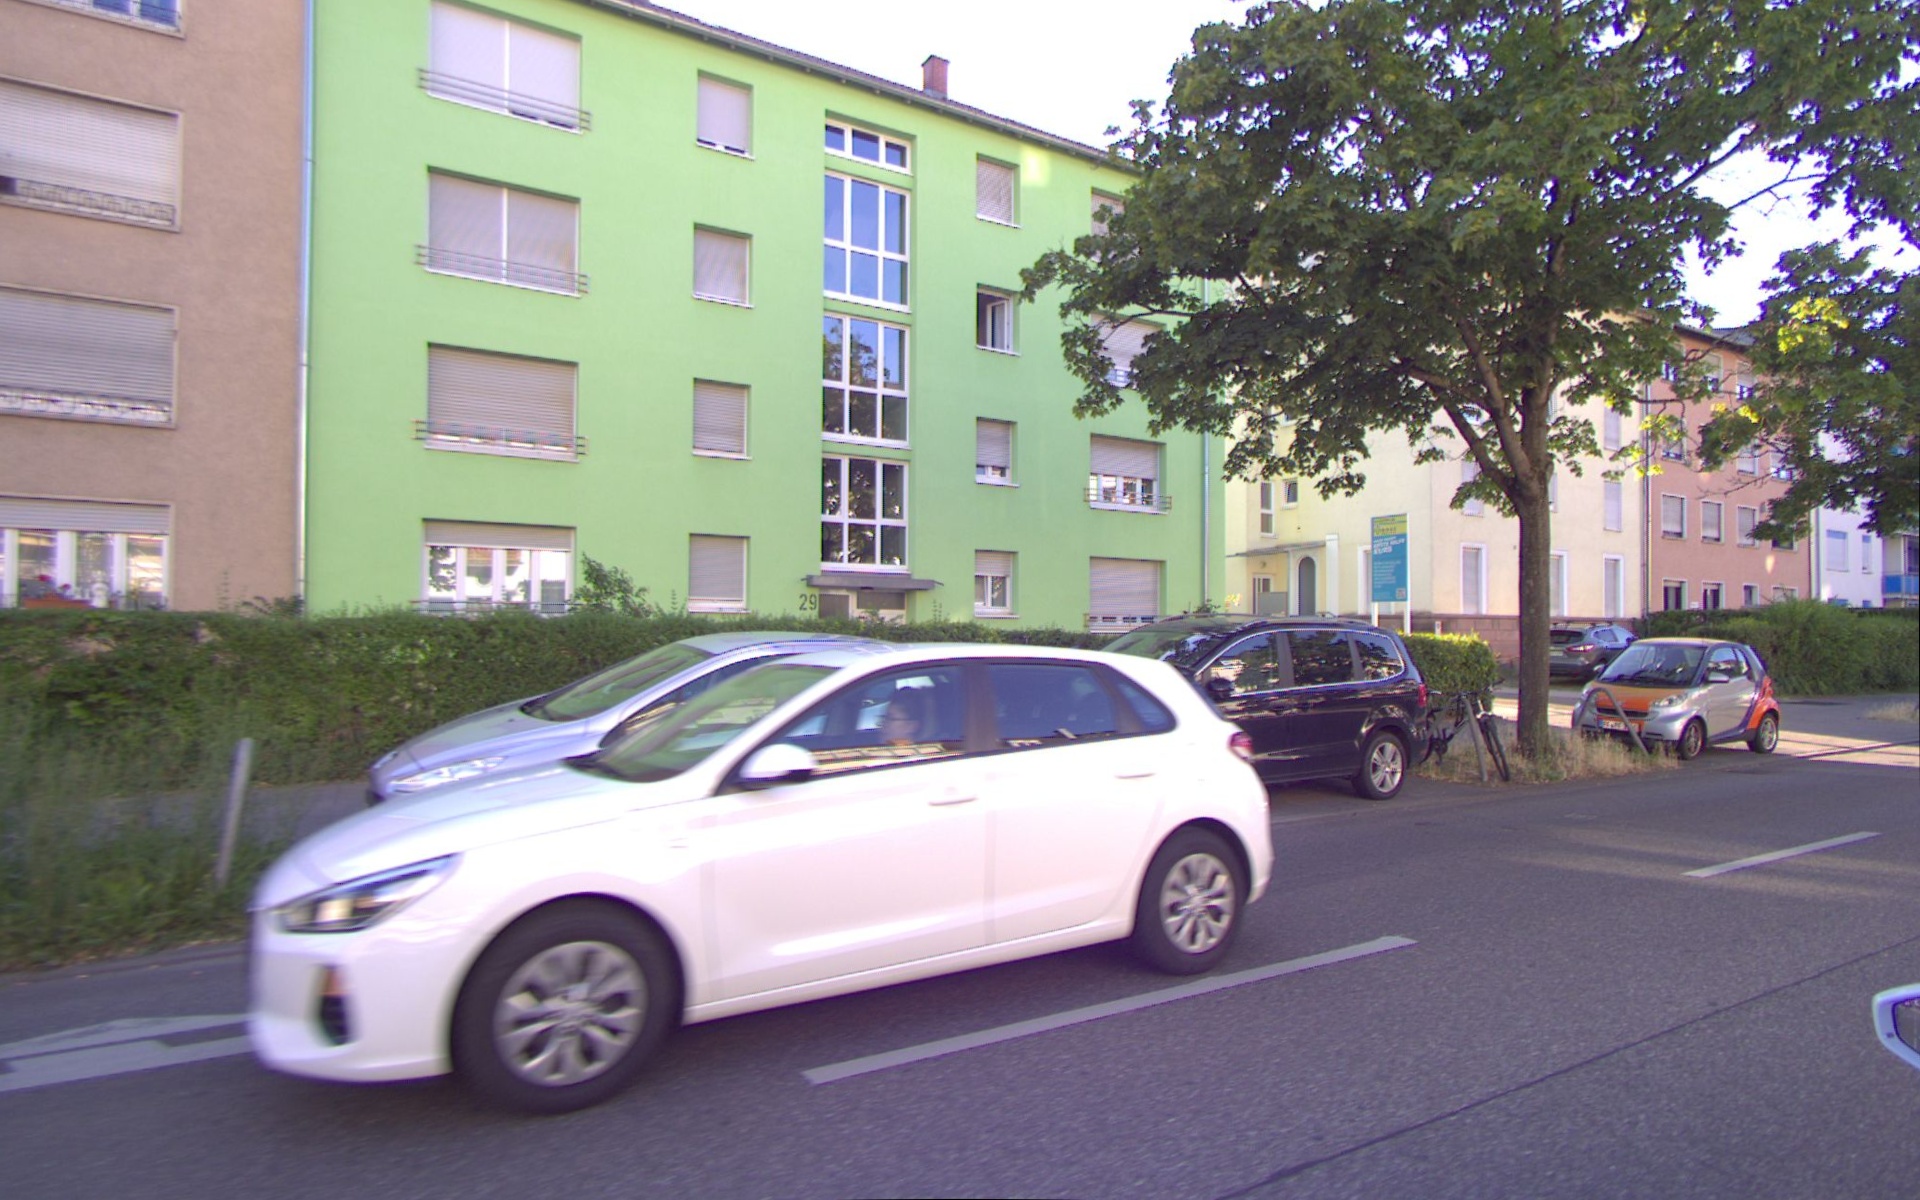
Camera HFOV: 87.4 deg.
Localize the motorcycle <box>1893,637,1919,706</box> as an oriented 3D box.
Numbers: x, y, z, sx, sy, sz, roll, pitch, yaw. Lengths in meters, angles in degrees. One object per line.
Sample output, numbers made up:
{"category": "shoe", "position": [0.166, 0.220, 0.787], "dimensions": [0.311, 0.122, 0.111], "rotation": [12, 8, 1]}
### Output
{"category": "motorcycle", "position": [20.750, 1.512, 20.701], "dimensions": [1.991, 1.407, 0.989], "rotation": [2, -1, 28]}
